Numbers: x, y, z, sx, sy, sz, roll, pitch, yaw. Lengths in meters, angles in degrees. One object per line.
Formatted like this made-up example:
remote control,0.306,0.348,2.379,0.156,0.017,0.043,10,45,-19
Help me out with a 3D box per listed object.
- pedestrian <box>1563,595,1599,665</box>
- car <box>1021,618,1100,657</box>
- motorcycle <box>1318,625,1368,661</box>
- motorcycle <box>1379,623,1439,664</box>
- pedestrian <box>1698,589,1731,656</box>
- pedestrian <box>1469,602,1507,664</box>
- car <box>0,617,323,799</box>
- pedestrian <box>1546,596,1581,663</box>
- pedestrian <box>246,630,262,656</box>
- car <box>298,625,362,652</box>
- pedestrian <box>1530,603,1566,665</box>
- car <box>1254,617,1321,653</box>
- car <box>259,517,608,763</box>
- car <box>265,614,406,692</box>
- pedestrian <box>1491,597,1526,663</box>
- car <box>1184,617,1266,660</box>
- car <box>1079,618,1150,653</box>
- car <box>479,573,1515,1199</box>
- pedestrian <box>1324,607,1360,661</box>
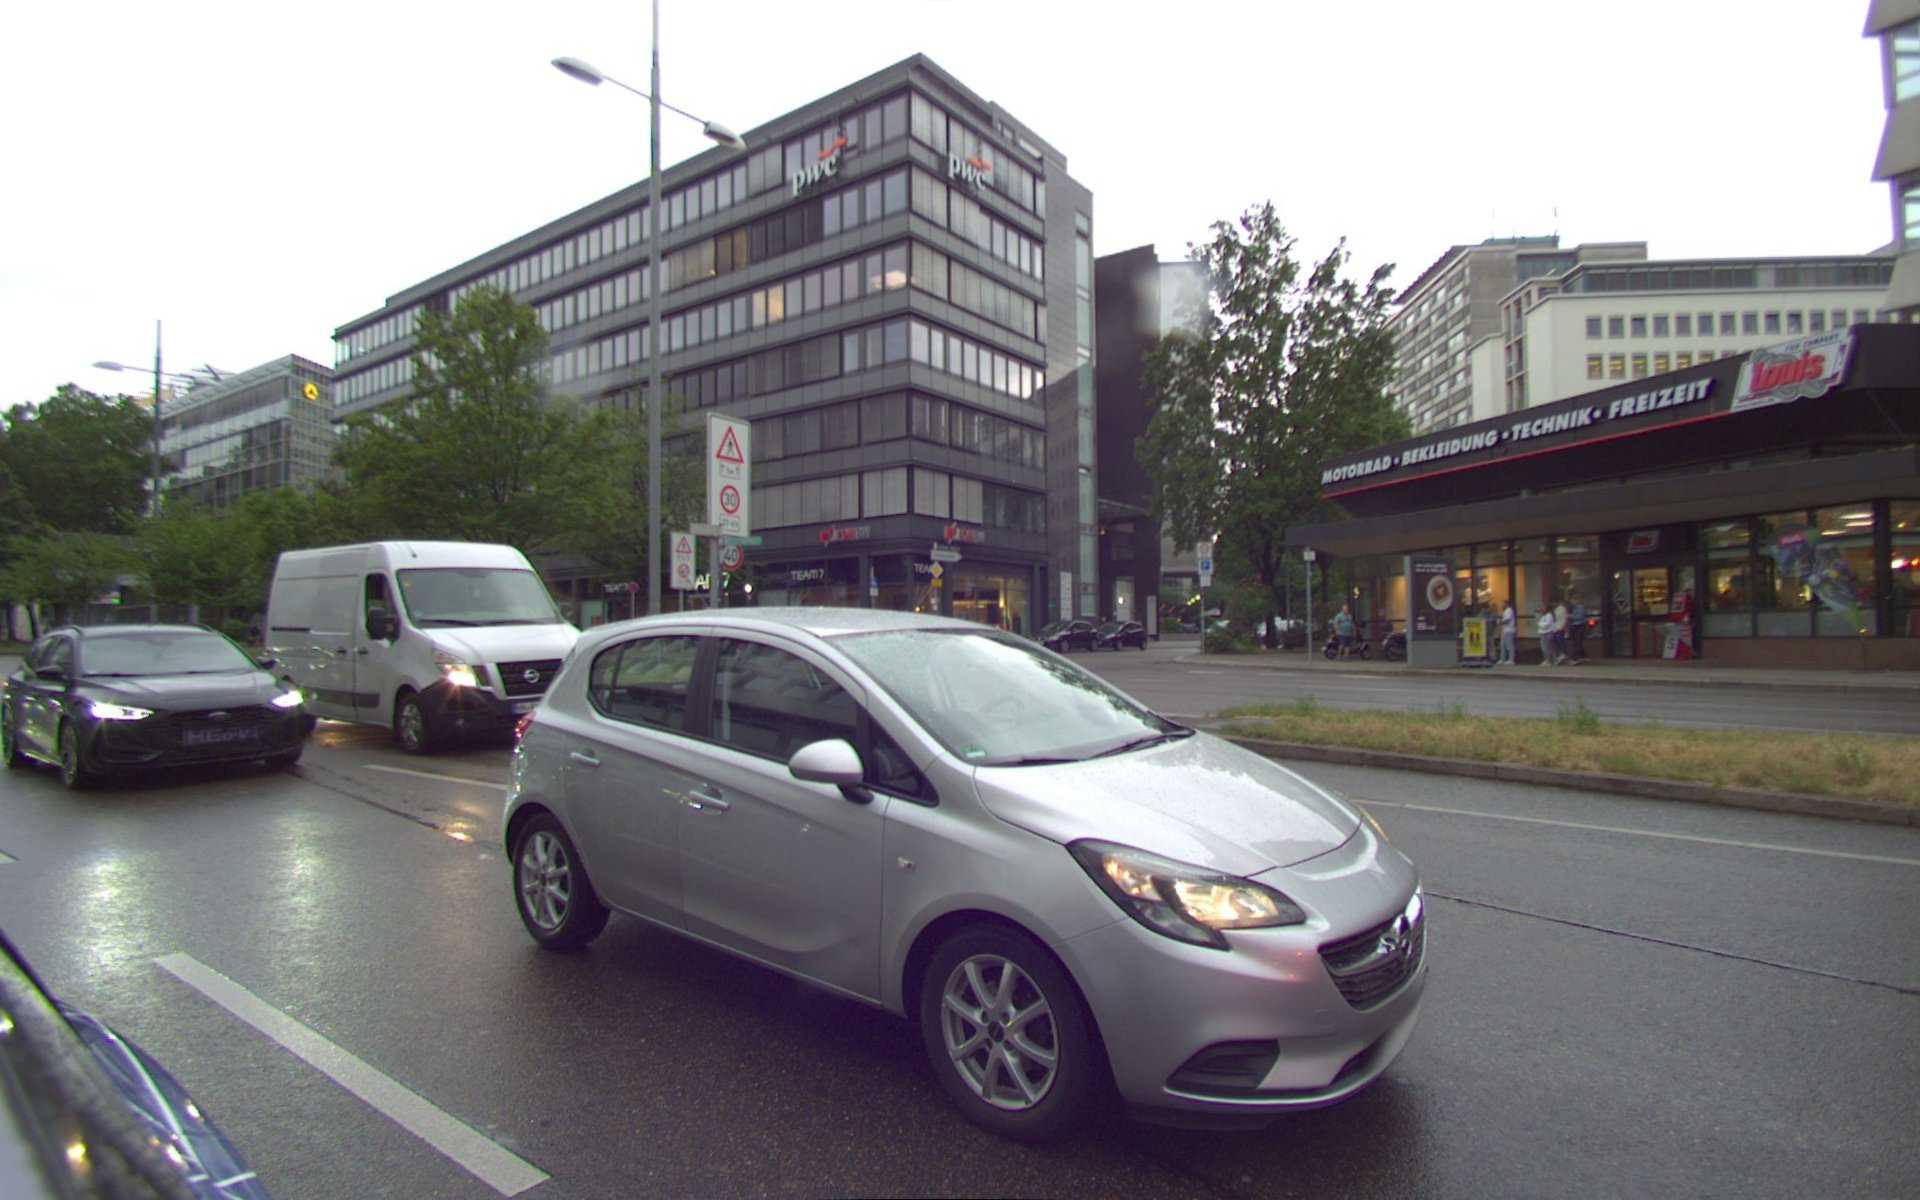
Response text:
pedestrian,15.981,0.771,26.036,0.532,1.757,0.560,0,-1,-29
car,4.547,1.660,45.471,1.847,1.596,3.716,-2,-1,37
motorcycle,12.972,1.457,34.279,1.600,1.153,0.360,-1,-1,-8
motorcycle,13.841,1.345,31.225,1.646,1.242,0.360,-1,-1,2
pedestrian,20.004,0.592,26.848,0.501,1.731,0.447,-1,-1,-16
pedestrian,14.115,0.867,27.052,0.605,1.623,0.614,0,-1,-29
car,-8.212,0.937,10.150,4.087,1.446,1.755,-2,-1,37
pedestrian,15.984,0.771,26.802,0.532,1.757,0.560,0,-1,-29
pedestrian,-54.331,3.299,77.871,0.539,2.029,0.917,-2,-1,39
car,-37.936,2.293,60.912,3.992,1.518,1.975,-2,-1,36
pedestrian,15.135,0.870,26.062,0.532,1.582,0.560,0,-1,-29
car,15.573,1.627,48.039,1.847,1.596,3.716,-2,-1,37
car,-6.762,0.459,12.656,5.475,2.459,1.927,-2,-1,40
car,-14.440,1.179,23.349,3.492,1.630,1.744,-2,-1,39
pedestrian,14.880,0.809,27.442,0.605,1.757,0.560,0,-1,-29
car,10.675,1.506,40.638,1.847,1.596,3.716,-2,-1,37
car,7.582,1.716,49.467,1.847,1.596,3.716,-2,-1,37
car,-0.175,0.708,3.974,3.872,1.446,1.631,-2,-1,40
pedestrian,11.803,1.046,31.311,0.721,1.661,0.702,-1,-1,-19
